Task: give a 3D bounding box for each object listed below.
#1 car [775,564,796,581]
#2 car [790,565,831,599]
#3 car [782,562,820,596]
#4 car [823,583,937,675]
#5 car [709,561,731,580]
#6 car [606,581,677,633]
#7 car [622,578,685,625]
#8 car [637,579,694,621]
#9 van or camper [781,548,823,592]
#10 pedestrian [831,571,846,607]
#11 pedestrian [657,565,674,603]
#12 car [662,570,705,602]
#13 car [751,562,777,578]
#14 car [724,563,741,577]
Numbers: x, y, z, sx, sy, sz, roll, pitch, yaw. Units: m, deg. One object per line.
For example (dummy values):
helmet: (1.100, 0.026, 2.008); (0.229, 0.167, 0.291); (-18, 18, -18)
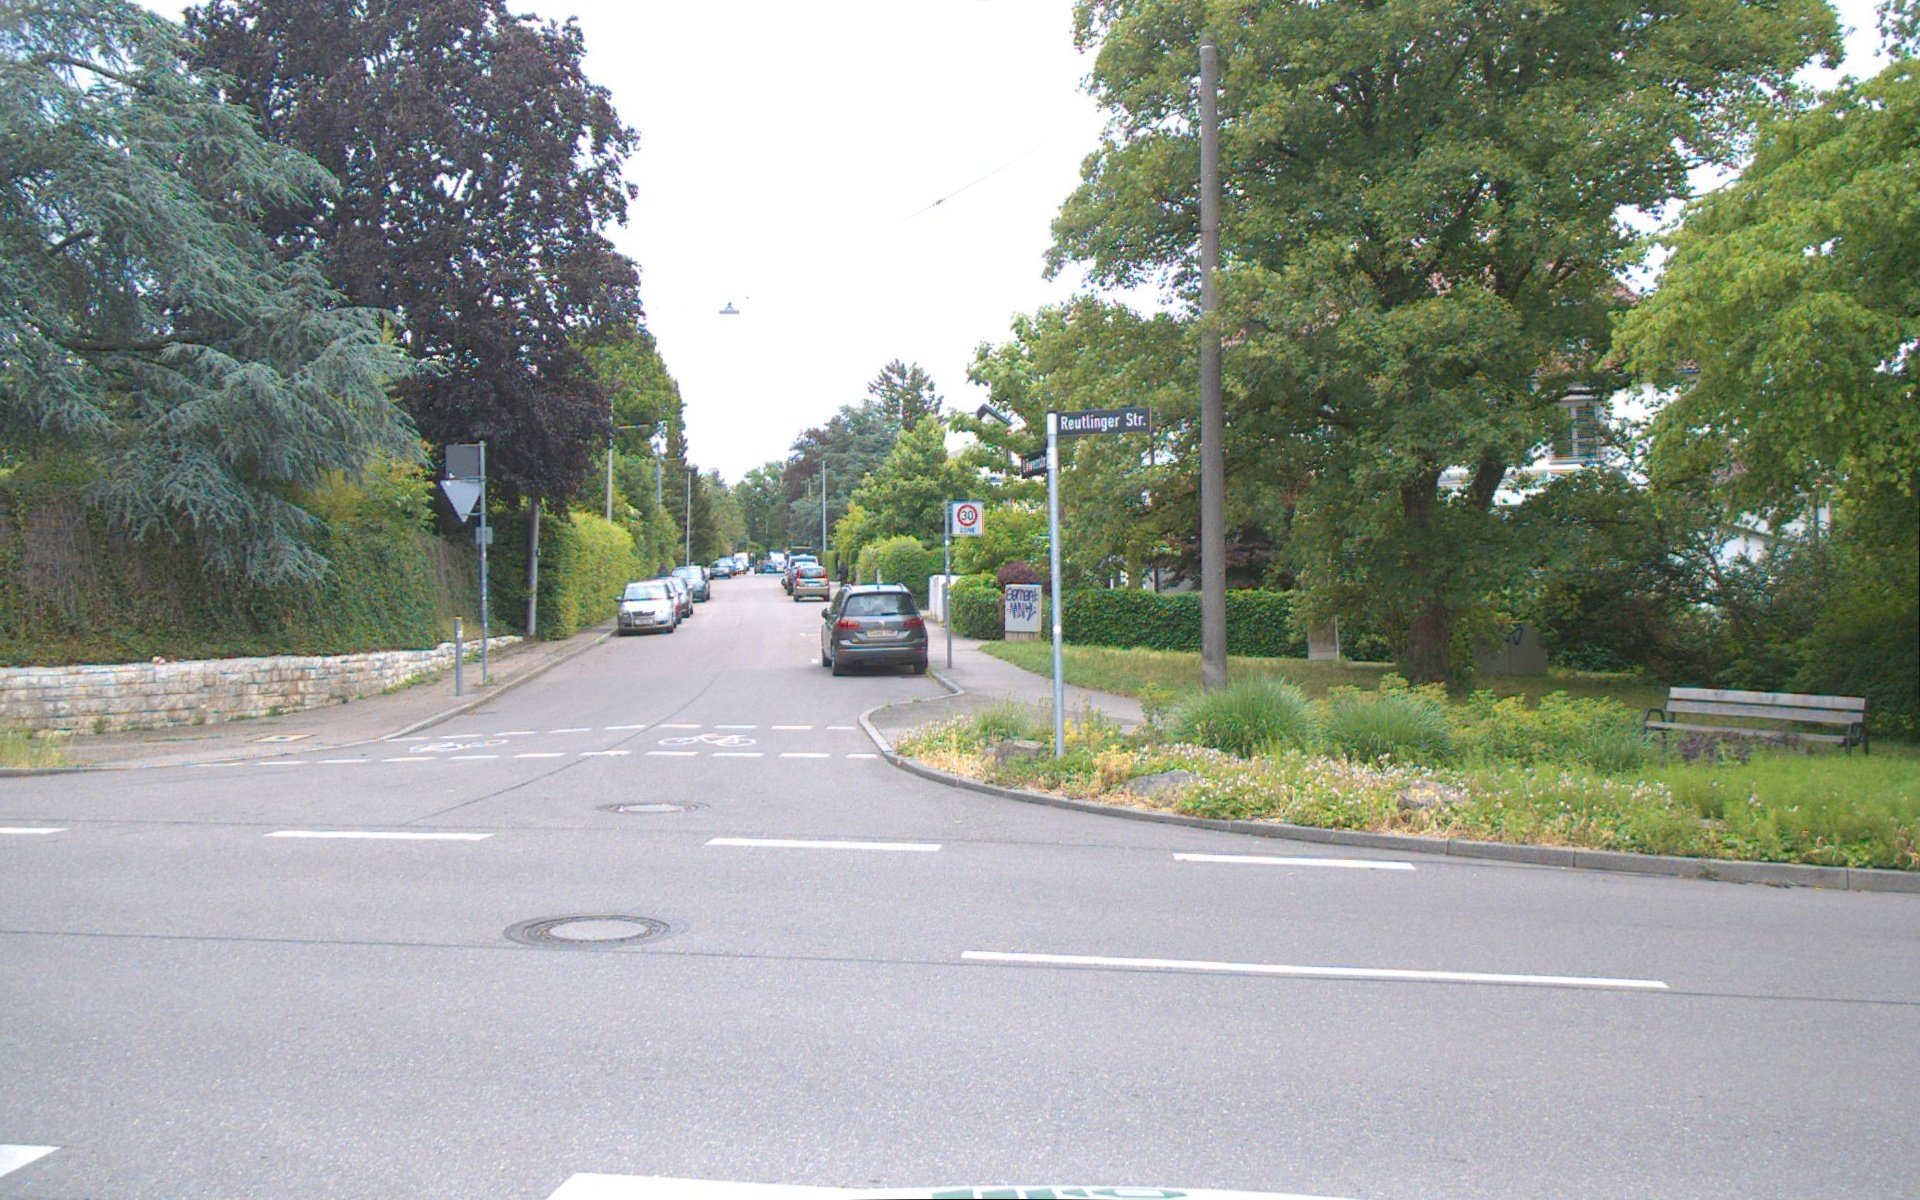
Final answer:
car: (-19.094, -3.009, 180.877); (1.905, 1.827, 4.184); (1, 0, -11)
car: (-6.681, -0.817, 73.733); (1.579, 1.438, 3.465); (1, 0, -10)
car: (-8.046, -1.037, 83.553); (1.714, 1.668, 3.720); (-1, 0, -9)
car: (-1.551, 0.479, 30.658); (1.783, 1.563, 3.994); (-1, 1, -7)
car: (-19.902, -2.422, 137.443); (1.682, 1.488, 3.651); (1, 0, -7)
car: (-9.507, 0.186, 49.594); (1.910, 1.467, 3.992); (-1, 1, -9)
car: (-10.105, 0.022, 54.701); (1.910, 1.467, 3.992); (-1, 1, -9)
car: (-10.677, -0.013, 60.182); (1.910, 1.467, 3.992); (-1, 1, -9)
van or camper: (-9.163, -1.678, 95.478); (2.074, 2.447, 5.235); (-1, 0, -9)
pedestrian: (-6.467, -0.576, 87.903); (0.742, 1.904, 0.619); (1, 0, -7)
pedestrian: (-15.892, -0.863, 89.210); (0.838, 2.049, 0.870); (1, 0, -13)
car: (-12.924, -0.666, 77.559); (1.910, 1.467, 3.992); (-1, 1, -9)
car: (-21.003, -3.164, 176.742); (1.790, 1.601, 3.974); (-1, 0, -22)
car: (-23.383, -3.065, 169.890); (1.625, 1.358, 3.773); (1, 0, -9)
